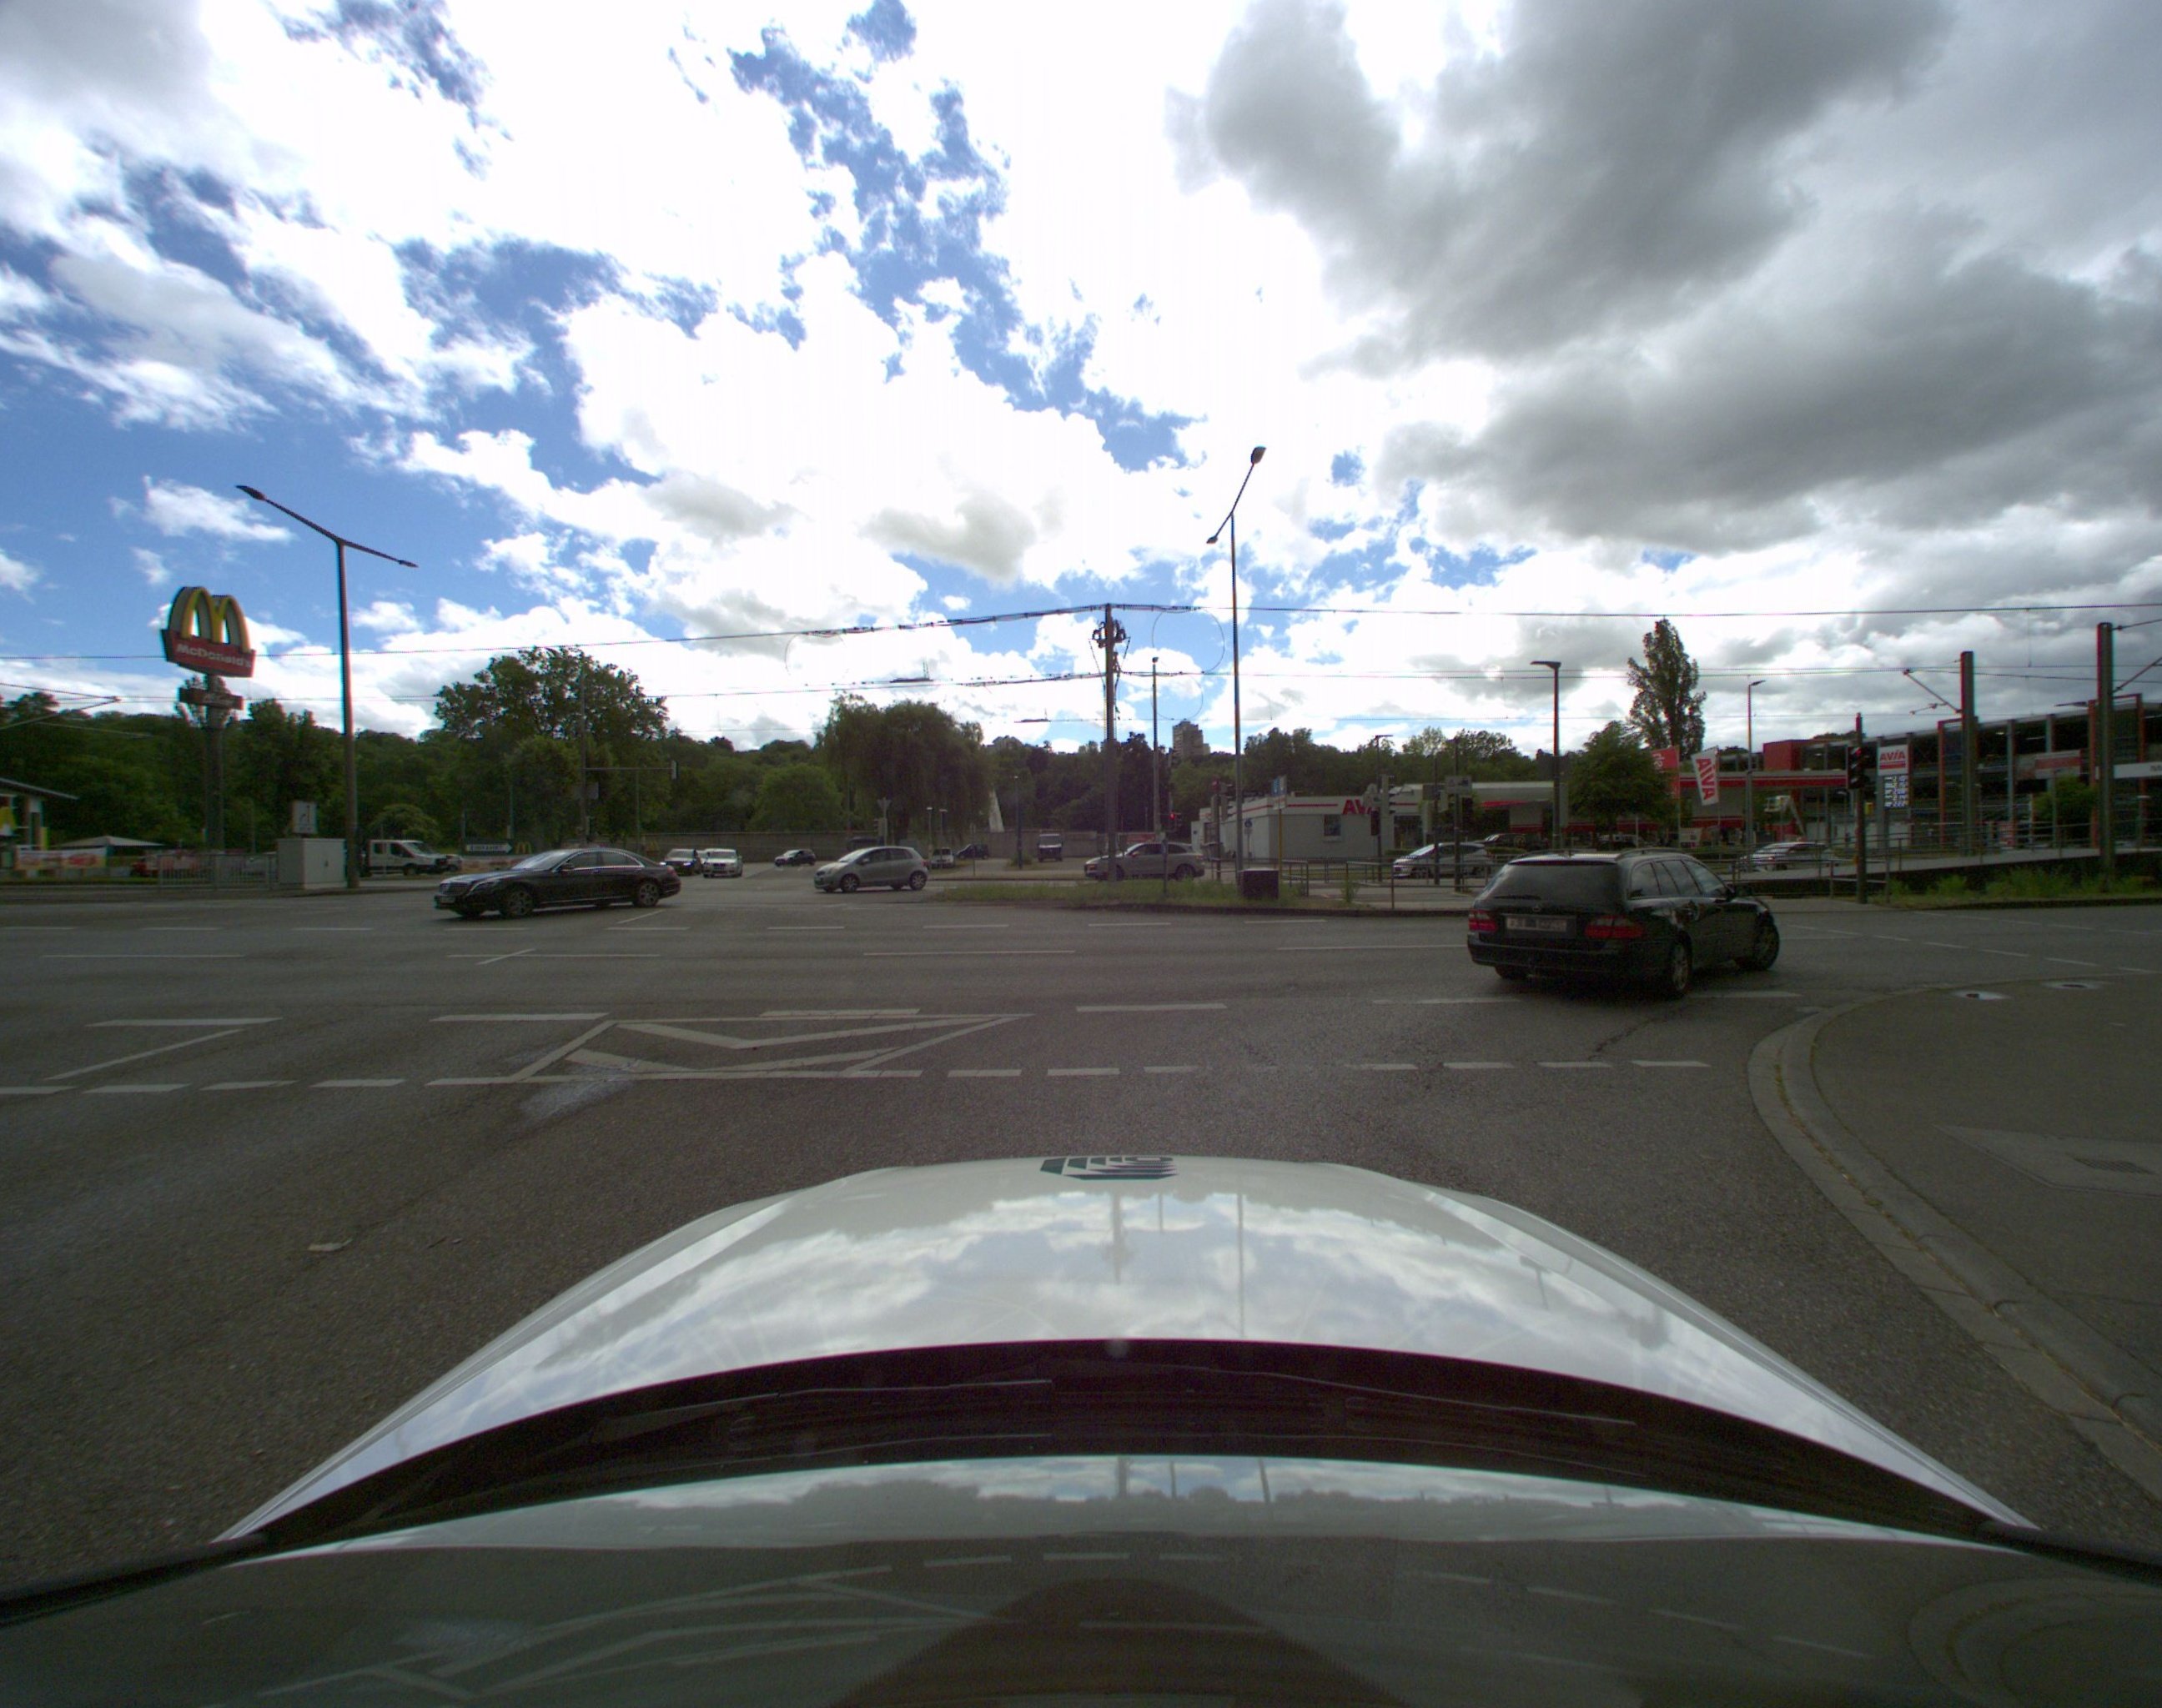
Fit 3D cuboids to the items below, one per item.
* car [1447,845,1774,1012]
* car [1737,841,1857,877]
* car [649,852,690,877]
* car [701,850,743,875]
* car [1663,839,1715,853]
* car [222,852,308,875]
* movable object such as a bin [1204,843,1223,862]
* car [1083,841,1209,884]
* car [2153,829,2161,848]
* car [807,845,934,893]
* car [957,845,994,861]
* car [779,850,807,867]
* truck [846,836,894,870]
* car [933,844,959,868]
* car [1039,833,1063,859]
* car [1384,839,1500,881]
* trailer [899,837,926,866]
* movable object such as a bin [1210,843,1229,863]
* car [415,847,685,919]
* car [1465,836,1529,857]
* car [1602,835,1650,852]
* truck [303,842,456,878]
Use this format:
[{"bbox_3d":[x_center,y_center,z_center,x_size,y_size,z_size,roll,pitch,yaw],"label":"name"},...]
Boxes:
[{"bbox_3d":[6.254,0.659,9.423,4.437,1.478,1.818,-1,0,-38],"label":"car"},{"bbox_3d":[30.449,0.190,34.692,3.809,1.454,1.630,-1,0,-4],"label":"car"},{"bbox_3d":[-25.646,0.634,50.759,1.804,1.432,3.603,-1,1,-35],"label":"car"},{"bbox_3d":[-21.644,0.466,49.183,1.795,1.432,4.393,-1,1,-17],"label":"car"},{"bbox_3d":[60.871,-0.814,81.566,4.041,1.365,1.911,0,-1,-7],"label":"car"},{"bbox_3d":[-56.291,0.674,56.261,3.978,1.529,1.780,0,-1,-3],"label":"car"},{"bbox_3d":[10.801,-0.099,66.336,1.363,1.484,1.105,0,-1,1],"label":"movable object such as a bin"},{"bbox_3d":[2.593,0.315,32.904,4.838,1.642,1.672,-1,0,-9],"label":"car"},{"bbox_3d":[91.377,-1.343,67.172,3.981,1.539,1.779,-1,-1,-5],"label":"car"},{"bbox_3d":[-7.049,0.459,27.439,3.807,1.487,1.657,-1,0,-39],"label":"car"},{"bbox_3d":[-10.959,-0.099,84.261,3.635,1.554,1.719,0,-1,-15],"label":"car"},{"bbox_3d":[-25.265,0.378,71.536,1.792,1.432,4.265,-1,0,-13],"label":"car"},{"bbox_3d":[-16.102,-0.088,62.477,2.373,2.494,5.819,0,0,-3],"label":"truck"},{"bbox_3d":[-10.568,0.137,63.933,1.747,1.743,3.850,-1,1,-6],"label":"car"},{"bbox_3d":[-2.554,-0.642,69.077,1.837,2.052,4.374,0,-1,-5],"label":"car"},{"bbox_3d":[15.018,0.229,33.982,4.102,1.641,1.748,-1,0,-4],"label":"car"},{"bbox_3d":[-13.358,-0.177,64.834,1.552,2.258,4.384,0,-1,-5],"label":"trailer"},{"bbox_3d":[10.938,-0.068,64.417,1.363,1.494,1.105,0,-1,1],"label":"movable object such as a bin"},{"bbox_3d":[-12.061,0.568,18.971,1.808,1.450,5.025,0,0,27],"label":"car"},{"bbox_3d":[28.231,-0.503,55.328,3.616,1.350,1.616,-1,0,-3],"label":"car"},{"bbox_3d":[58.439,-1.170,87.378,4.041,1.752,1.911,0,-1,-7],"label":"car"},{"bbox_3d":[-39.772,0.347,46.341,6.168,1.905,2.596,0,-1,-5],"label":"truck"}]
